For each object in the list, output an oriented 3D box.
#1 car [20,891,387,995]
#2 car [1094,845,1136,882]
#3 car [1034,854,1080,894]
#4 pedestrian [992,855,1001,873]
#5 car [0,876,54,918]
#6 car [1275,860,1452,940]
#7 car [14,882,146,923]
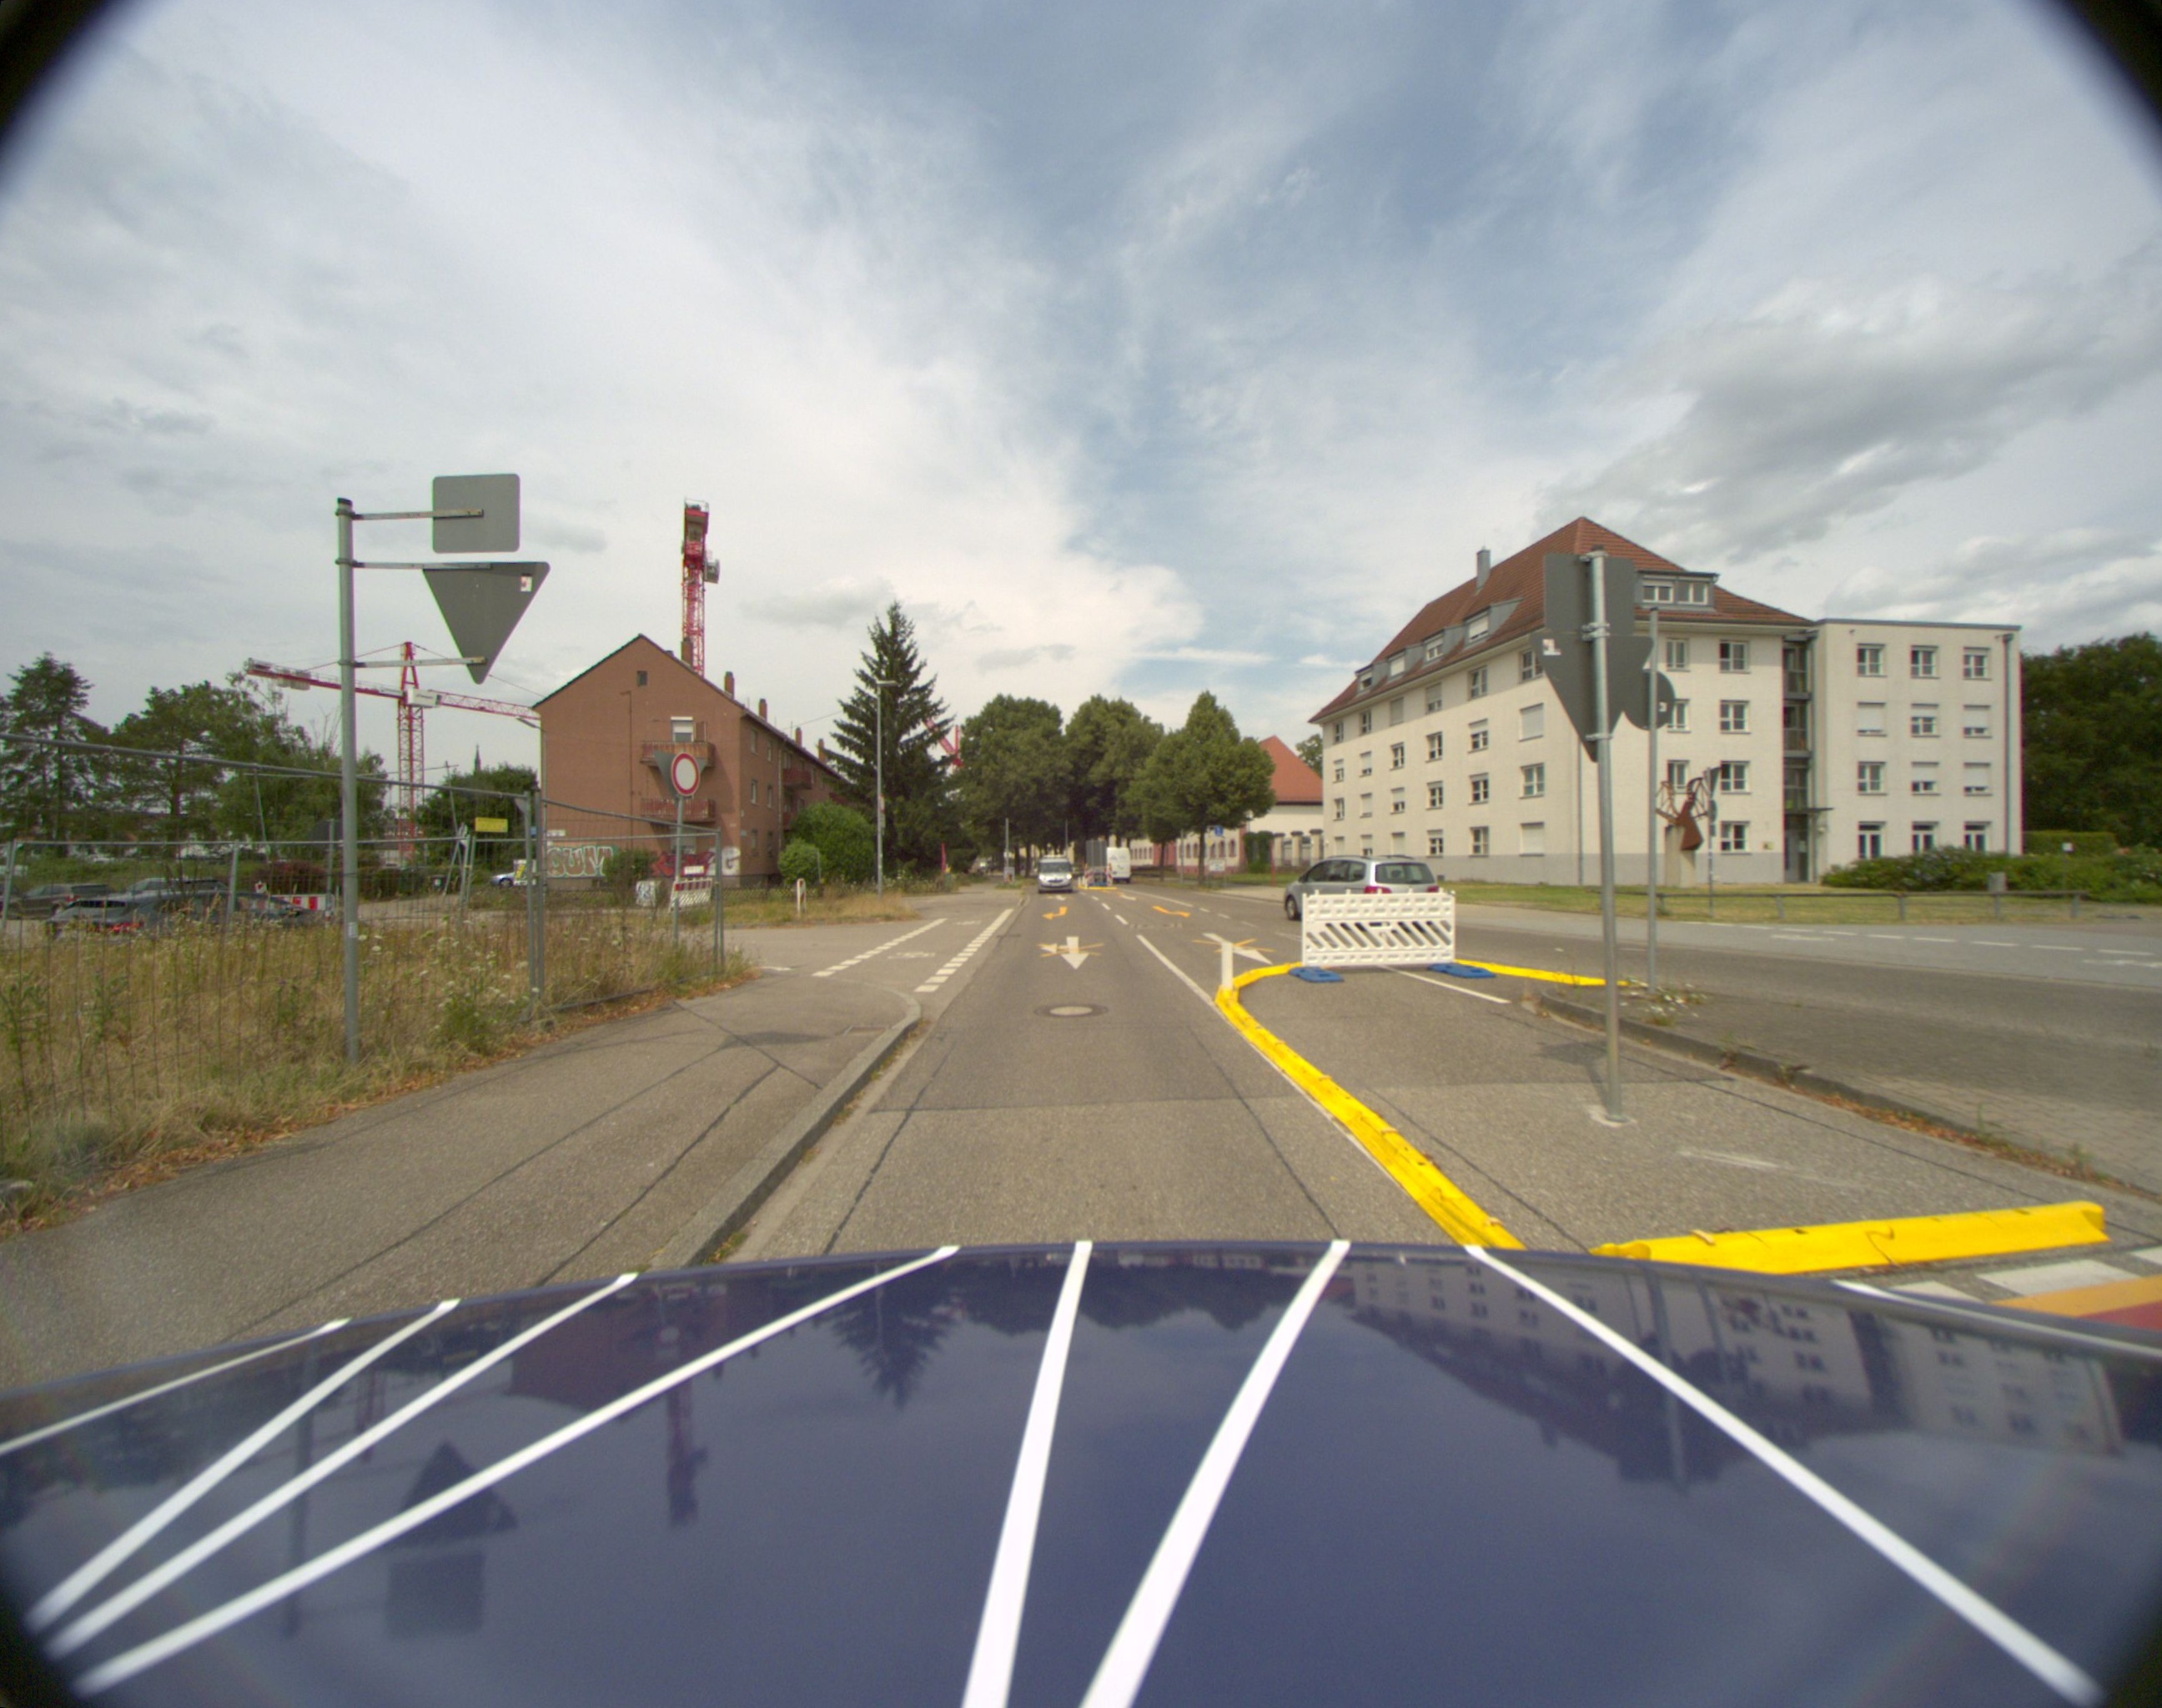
[{"bbox_3d":[-16.004,1.527,14.283,1.765,1.465,4.261,-1,0,5],"label":"car"},{"bbox_3d":[2.456,0.695,57.215,2.071,2.670,5.966,-1,0,-8],"label":"car"},{"bbox_3d":[-1.317,1.009,39.716,1.811,1.936,4.580,-1,0,-10],"label":"car"},{"bbox_3d":[-9.109,1.067,81.939,0.855,2.002,0.732,-1,0,-1],"label":"pedestrian"},{"bbox_3d":[-46.685,1.836,32.458,4.006,1.739,1.859,-1,0,12],"label":"car"},{"bbox_3d":[6.503,0.975,18.164,1.802,1.613,4.744,-1,0,-10],"label":"car"},{"bbox_3d":[-41.646,2.003,31.644,4.006,1.593,1.804,-1,0,13],"label":"car"}]
